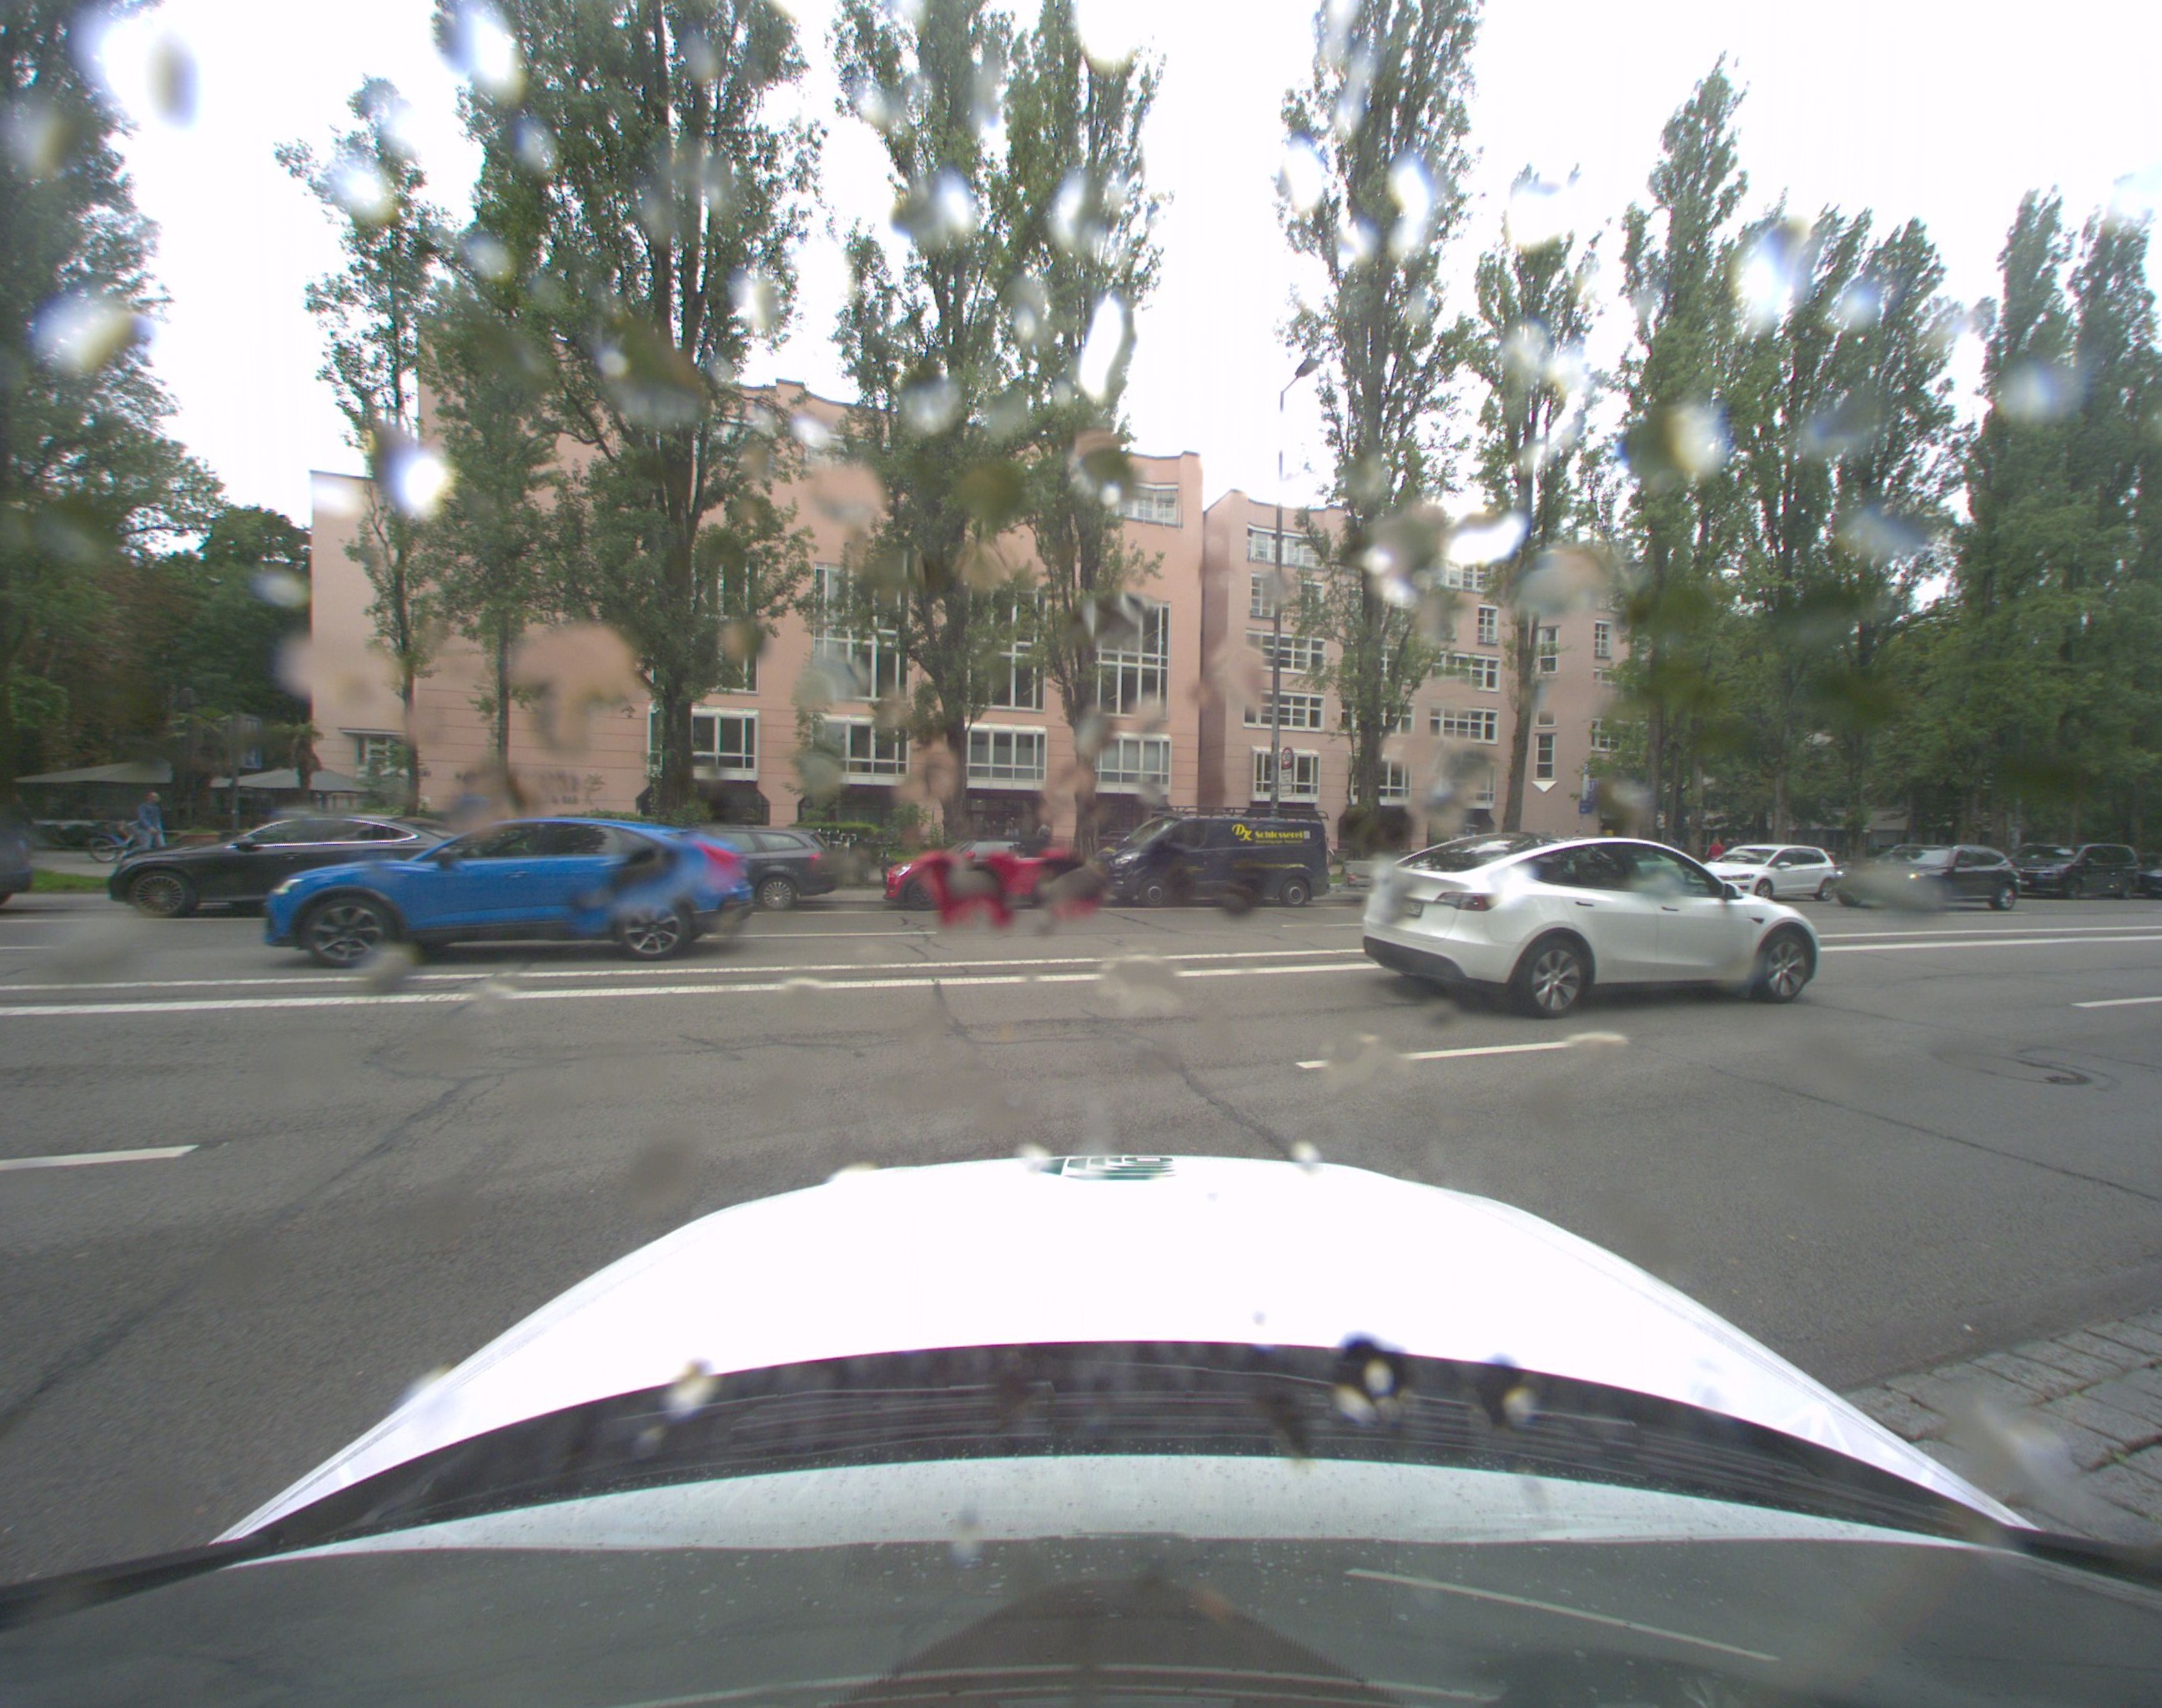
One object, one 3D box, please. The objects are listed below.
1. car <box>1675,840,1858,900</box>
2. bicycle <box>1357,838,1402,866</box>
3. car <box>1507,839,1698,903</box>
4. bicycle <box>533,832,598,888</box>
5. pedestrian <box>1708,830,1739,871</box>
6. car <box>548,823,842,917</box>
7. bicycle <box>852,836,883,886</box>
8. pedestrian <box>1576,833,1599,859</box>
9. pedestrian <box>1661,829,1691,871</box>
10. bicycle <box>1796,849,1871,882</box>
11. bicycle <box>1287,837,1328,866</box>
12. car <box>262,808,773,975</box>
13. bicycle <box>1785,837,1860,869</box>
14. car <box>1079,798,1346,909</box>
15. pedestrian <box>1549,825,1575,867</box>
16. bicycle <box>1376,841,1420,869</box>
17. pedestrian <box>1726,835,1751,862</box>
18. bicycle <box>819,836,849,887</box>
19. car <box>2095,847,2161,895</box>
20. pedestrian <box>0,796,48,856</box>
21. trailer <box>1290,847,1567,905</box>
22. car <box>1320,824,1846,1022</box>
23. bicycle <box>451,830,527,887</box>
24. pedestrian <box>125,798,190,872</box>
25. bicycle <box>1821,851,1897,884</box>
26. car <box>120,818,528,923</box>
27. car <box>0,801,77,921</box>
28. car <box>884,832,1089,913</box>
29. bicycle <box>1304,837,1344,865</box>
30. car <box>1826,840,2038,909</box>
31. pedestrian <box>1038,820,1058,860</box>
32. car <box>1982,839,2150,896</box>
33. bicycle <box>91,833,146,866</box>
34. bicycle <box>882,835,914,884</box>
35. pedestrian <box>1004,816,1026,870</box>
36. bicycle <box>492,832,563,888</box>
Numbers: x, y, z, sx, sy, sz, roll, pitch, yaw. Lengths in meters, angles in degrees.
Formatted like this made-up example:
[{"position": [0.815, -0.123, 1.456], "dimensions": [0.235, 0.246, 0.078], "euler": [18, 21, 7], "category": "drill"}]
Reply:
[{"position": [19.508, 0.418, 23.210], "dimensions": [4.321, 1.541, 1.989], "euler": [0, 2, -18], "category": "car"}, {"position": [12.747, -0.097, 34.861], "dimensions": [0.675, 1.124, 2.096], "euler": [0, 2, -16], "category": "bicycle"}, {"position": [13.397, 0.404, 20.971], "dimensions": [4.228, 1.541, 1.797], "euler": [0, 1, -15], "category": "car"}, {"position": [-11.327, 0.097, 17.973], "dimensions": [0.675, 1.124, 1.978], "euler": [0, 2, -16], "category": "bicycle"}, {"position": [27.358, -0.142, 34.695], "dimensions": [0.731, 1.713, 0.705], "euler": [1, 2, -16], "category": "pedestrian"}, {"position": [-6.773, 0.252, 14.877], "dimensions": [4.619, 1.528, 1.784], "euler": [0, 2, -17], "category": "car"}, {"position": [-5.207, 0.137, 19.801], "dimensions": [0.675, 1.124, 1.733], "euler": [0, 2, -16], "category": "bicycle"}, {"position": [32.901, -0.507, 52.897], "dimensions": [0.896, 1.661, 0.813], "euler": [1, 2, -16], "category": "pedestrian"}, {"position": [25.032, -0.167, 34.267], "dimensions": [0.731, 1.713, 0.705], "euler": [1, 2, -16], "category": "pedestrian"}, {"position": [28.261, 0.410, 30.634], "dimensions": [0.675, 1.124, 1.978], "euler": [0, 2, -16], "category": "bicycle"}, {"position": [9.486, -0.126, 34.192], "dimensions": [0.675, 1.124, 1.978], "euler": [0, 2, -16], "category": "bicycle"}, {"position": [-5.937, 0.361, 9.314], "dimensions": [4.421, 1.579, 1.860], "euler": [1, 0, -19], "category": "car"}, {"position": [27.564, -0.050, 30.303], "dimensions": [0.675, 1.124, 1.978], "euler": [0, 2, -16], "category": "bicycle"}, {"position": [2.884, -0.028, 17.996], "dimensions": [5.492, 2.196, 2.012], "euler": [0, 2, -17], "category": "car"}, {"position": [18.894, -0.325, 32.000], "dimensions": [0.654, 1.604, 0.559], "euler": [1, 2, 3], "category": "pedestrian"}, {"position": [13.700, 0.047, 35.262], "dimensions": [0.675, 1.124, 1.978], "euler": [0, 2, -16], "category": "bicycle"}, {"position": [41.348, -0.353, 51.197], "dimensions": [0.896, 1.661, 0.813], "euler": [1, 2, -16], "category": "pedestrian"}, {"position": [-5.929, 0.151, 19.598], "dimensions": [0.675, 1.124, 1.733], "euler": [0, 2, -16], "category": "bicycle"}, {"position": [38.917, 0.609, 29.138], "dimensions": [4.352, 1.606, 1.987], "euler": [0, 2, -20], "category": "car"}, {"position": [-30.567, -0.804, 23.518], "dimensions": [0.728, 1.713, 0.897], "euler": [2, 2, 39], "category": "pedestrian"}, {"position": [8.366, 0.495, 19.732], "dimensions": [6.031, 1.199, 2.392], "euler": [0, 2, -17], "category": "trailer"}, {"position": [5.029, 0.548, 8.310], "dimensions": [4.635, 1.575, 1.989], "euler": [0, 3, -18], "category": "car"}, {"position": [-12.713, 0.063, 17.554], "dimensions": [0.675, 1.124, 1.978], "euler": [0, 2, -16], "category": "bicycle"}, {"position": [-21.904, -0.443, 19.330], "dimensions": [0.731, 1.713, 0.705], "euler": [1, 2, -16], "category": "pedestrian"}, {"position": [29.288, 0.481, 30.710], "dimensions": [0.675, 1.124, 1.978], "euler": [0, 2, -16], "category": "bicycle"}, {"position": [-11.995, 0.224, 13.323], "dimensions": [4.510, 1.528, 1.784], "euler": [0, 2, -17], "category": "car"}, {"position": [-17.651, 0.080, 11.469], "dimensions": [4.077, 1.731, 1.782], "euler": [0, 1, -19], "category": "car"}, {"position": [-1.927, 0.336, 16.239], "dimensions": [3.866, 1.448, 1.670], "euler": [1, 2, -15], "category": "car"}, {"position": [10.231, -0.144, 34.367], "dimensions": [0.675, 1.124, 1.978], "euler": [0, 2, -16], "category": "bicycle"}, {"position": [22.100, 0.474, 21.195], "dimensions": [4.547, 1.642, 1.989], "euler": [0, 1, -17], "category": "car"}, {"position": [-1.444, -0.606, 35.705], "dimensions": [0.708, 1.713, 0.728], "euler": [1, 2, -14], "category": "pedestrian"}, {"position": [33.459, 0.424, 27.672], "dimensions": [4.758, 1.797, 1.989], "euler": [0, 2, -18], "category": "car"}, {"position": [-24.902, -0.123, 21.082], "dimensions": [0.324, 0.798, 1.026], "euler": [1, 2, -10], "category": "bicycle"}, {"position": [-4.513, 0.120, 20.019], "dimensions": [0.675, 1.124, 1.720], "euler": [0, 2, -16], "category": "bicycle"}, {"position": [-2.059, -0.350, 25.322], "dimensions": [0.558, 1.663, 0.618], "euler": [1, 2, -13], "category": "pedestrian"}, {"position": [-12.023, 0.093, 17.757], "dimensions": [0.675, 1.124, 1.978], "euler": [0, 2, -16], "category": "bicycle"}]
